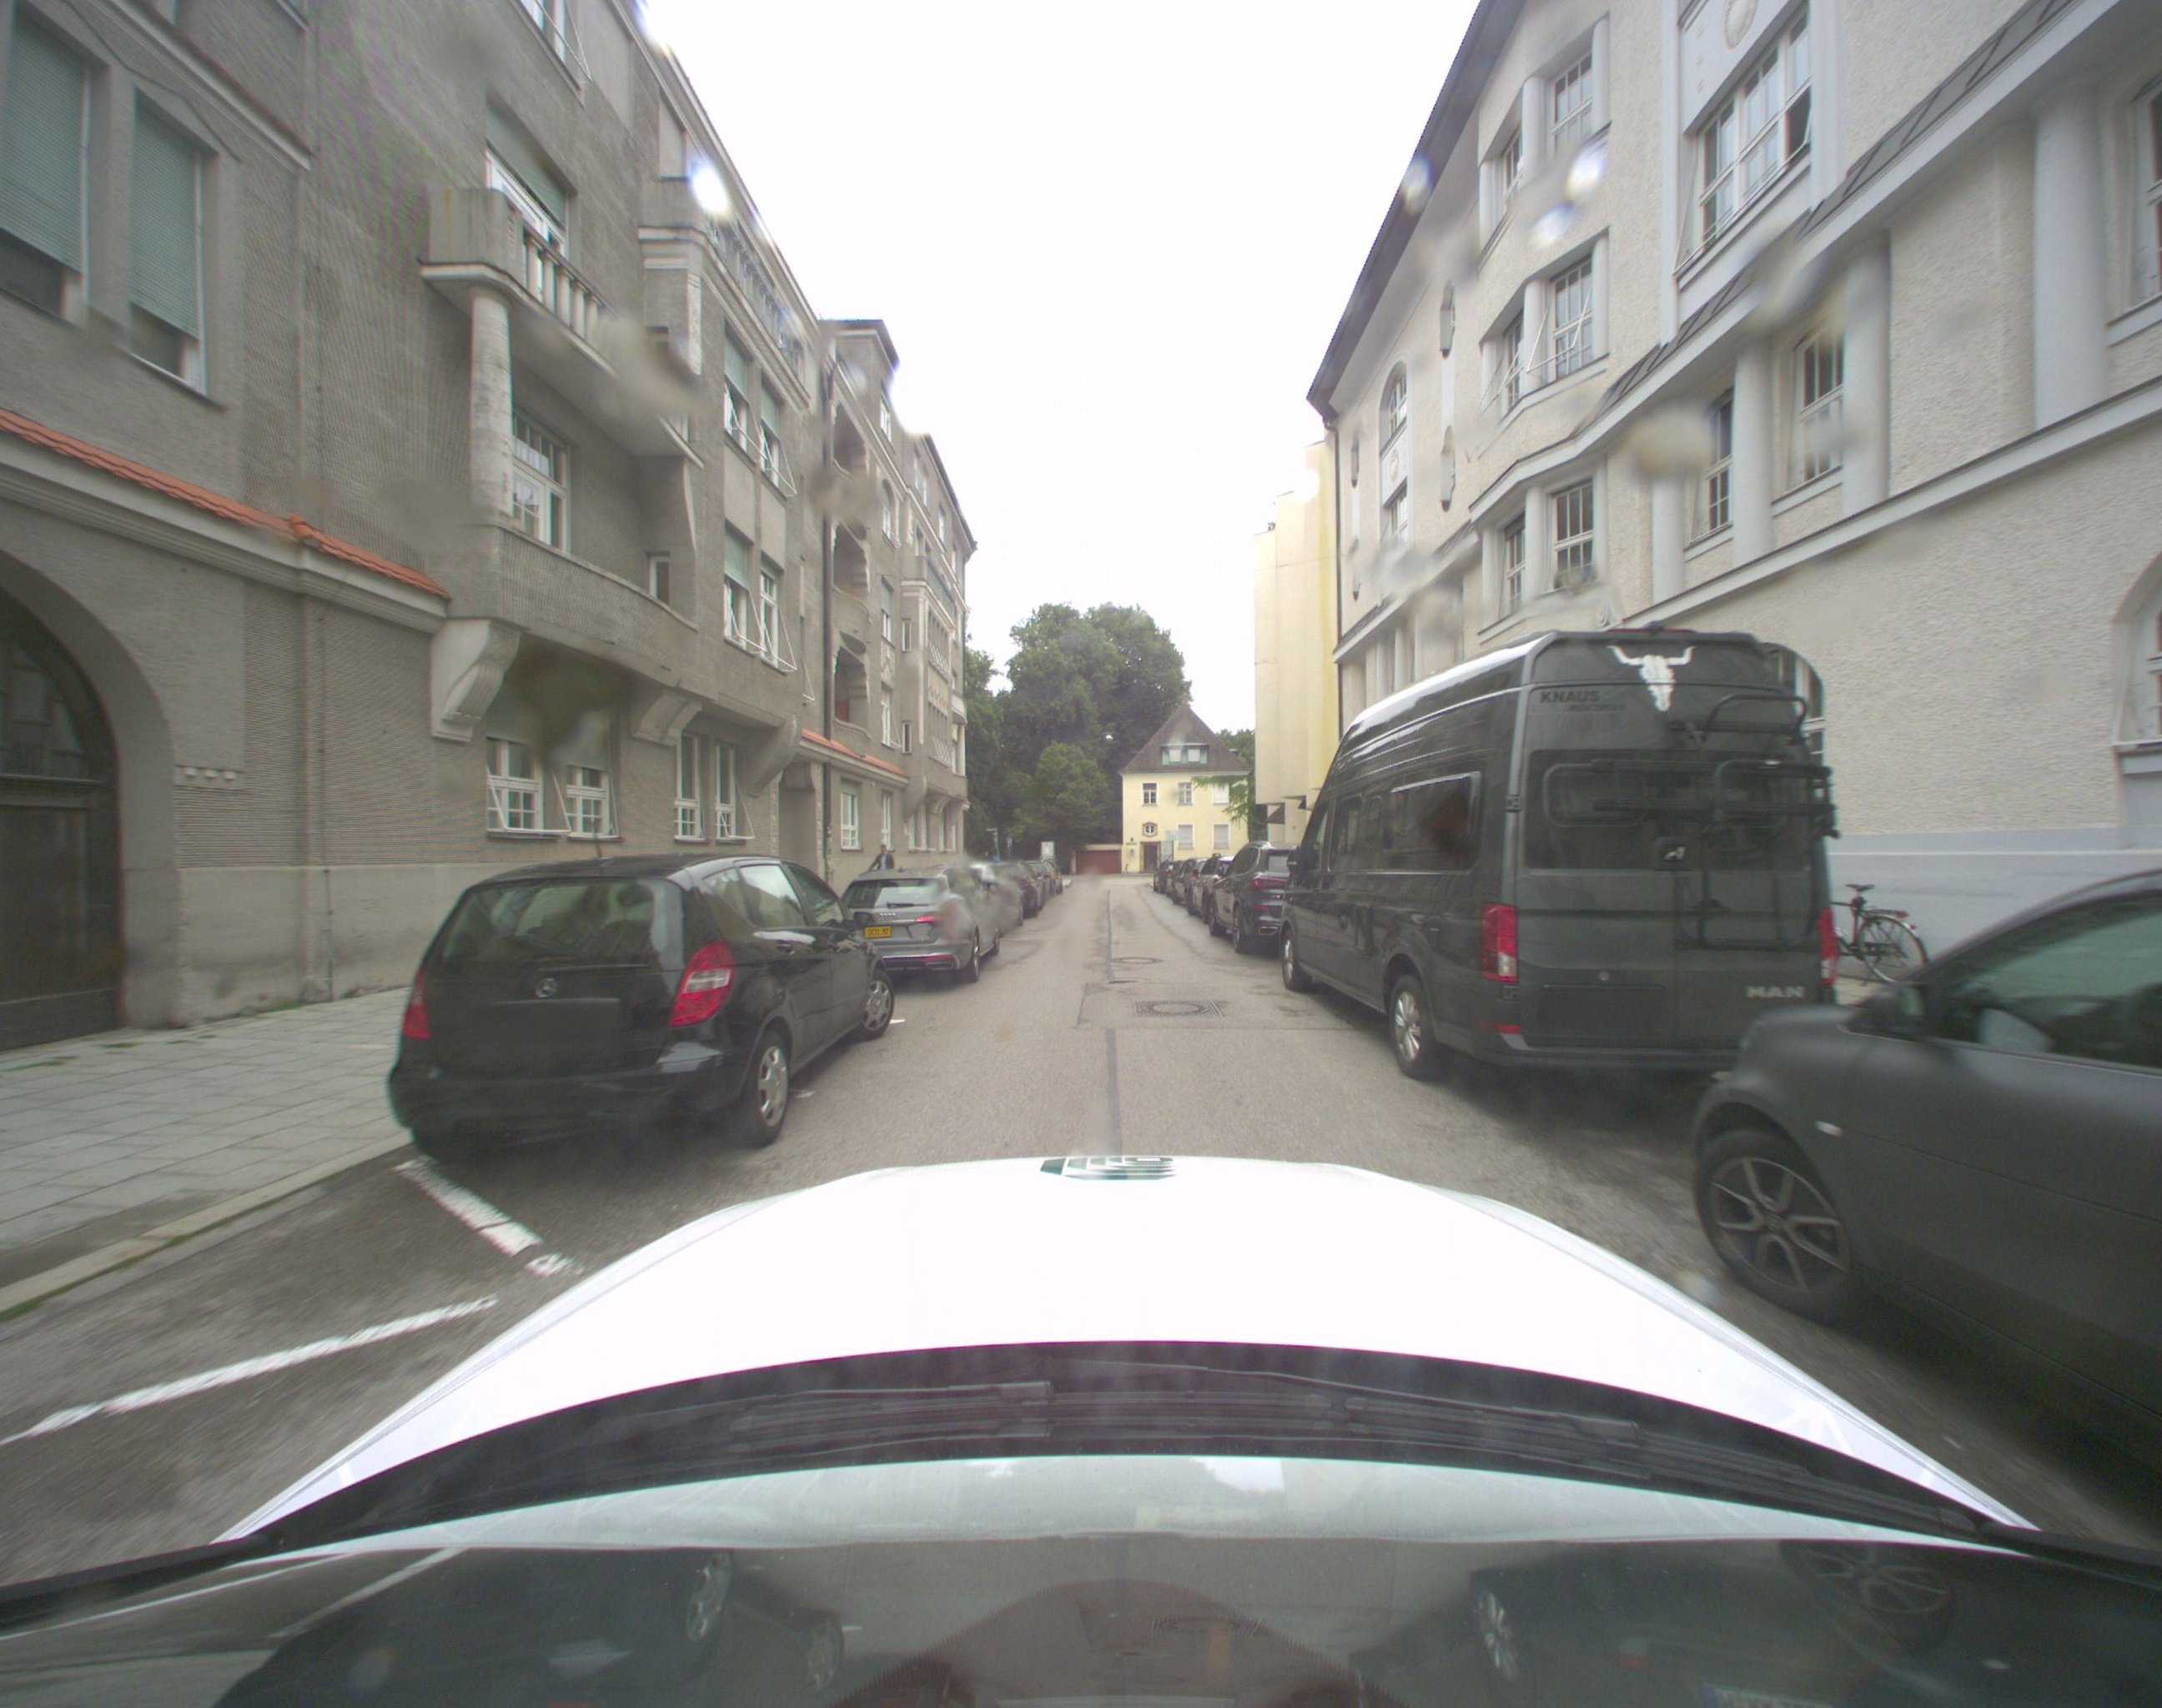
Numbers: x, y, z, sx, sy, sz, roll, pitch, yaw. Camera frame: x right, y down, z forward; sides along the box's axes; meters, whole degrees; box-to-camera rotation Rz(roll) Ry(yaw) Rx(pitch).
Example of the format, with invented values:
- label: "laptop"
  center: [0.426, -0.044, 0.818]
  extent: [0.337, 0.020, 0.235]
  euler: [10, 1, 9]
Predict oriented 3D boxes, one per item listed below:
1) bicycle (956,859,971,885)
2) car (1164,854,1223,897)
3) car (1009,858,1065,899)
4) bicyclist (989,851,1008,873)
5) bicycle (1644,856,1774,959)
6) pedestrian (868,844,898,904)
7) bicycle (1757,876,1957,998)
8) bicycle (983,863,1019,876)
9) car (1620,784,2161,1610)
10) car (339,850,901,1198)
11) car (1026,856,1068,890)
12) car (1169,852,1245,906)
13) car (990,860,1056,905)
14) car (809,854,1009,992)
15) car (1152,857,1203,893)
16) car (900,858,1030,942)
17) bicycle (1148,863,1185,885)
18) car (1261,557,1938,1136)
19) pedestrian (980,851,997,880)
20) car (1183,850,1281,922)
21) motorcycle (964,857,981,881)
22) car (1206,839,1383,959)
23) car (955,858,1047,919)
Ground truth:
- label: "bicycle"
  center: [-6.188, 0.946, 43.104]
  extent: [0.617, 1.349, 1.673]
  euler: [0, 0, -3]
- label: "car"
  center: [4.072, 0.739, 30.045]
  extent: [1.629, 1.471, 3.854]
  euler: [0, 0, 0]
- label: "car"
  center: [-1.705, 0.940, 33.093]
  extent: [1.748, 1.515, 4.711]
  euler: [-1, 0, 3]
- label: "bicyclist"
  center: [-6.340, 0.627, 62.698]
  extent: [1.115, 1.651, 0.991]
  euler: [0, 0, 16]
- label: "bicycle"
  center: [7.602, 0.595, 9.949]
  extent: [0.478, 1.150, 1.793]
  euler: [0, 0, 10]
- label: "pedestrian"
  center: [-6.064, 0.613, 24.933]
  extent: [0.714, 1.817, 0.731]
  euler: [0, 0, 1]
- label: "bicycle"
  center: [7.973, 0.798, 8.481]
  extent: [0.387, 1.069, 1.789]
  euler: [-2, 0, 2]
- label: "bicycle"
  center: [-6.150, 1.208, 62.642]
  extent: [2.592, 0.988, 0.991]
  euler: [0, 0, 16]
- label: "car"
  center: [2.913, 0.671, 1.928]
  extent: [1.535, 1.626, 2.818]
  euler: [0, 0, 4]
- label: "car"
  center: [-2.533, 0.777, 5.656]
  extent: [1.798, 1.572, 3.811]
  euler: [0, 0, -2]
- label: "car"
  center: [-1.578, 0.885, 38.415]
  extent: [1.697, 1.515, 2.913]
  euler: [-1, 0, 2]
- label: "car"
  center: [3.822, 0.726, 25.288]
  extent: [1.630, 1.537, 3.852]
  euler: [0, 0, -2]
- label: "car"
  center: [-1.902, 0.916, 27.724]
  extent: [1.748, 1.331, 4.099]
  euler: [-1, 0, 3]
- label: "car"
  center: [-2.103, 0.764, 11.303]
  extent: [1.831, 1.513, 4.606]
  euler: [0, 0, -1]
- label: "car"
  center: [4.146, 0.881, 35.746]
  extent: [1.687, 1.471, 4.610]
  euler: [0, 0, 0]
- label: "car"
  center: [-2.253, 0.853, 17.066]
  extent: [1.798, 1.431, 4.443]
  euler: [-2, 0, 3]
- label: "bicycle"
  center: [4.521, 1.045, 43.153]
  extent: [1.774, 1.085, 0.670]
  euler: [-2, 1, 28]
- label: "car"
  center: [3.331, 0.000, 7.256]
  extent: [2.246, 2.960, 6.133]
  euler: [0, -1, 1]
- label: "pedestrian"
  center: [-5.767, 0.732, 50.732]
  extent: [0.835, 1.787, 0.937]
  euler: [0, 0, 4]
- label: "car"
  center: [3.584, 0.711, 19.984]
  extent: [1.629, 1.592, 3.967]
  euler: [0, 0, -1]
- label: "motorcycle"
  center: [-6.609, 0.917, 49.687]
  extent: [0.733, 1.441, 2.147]
  euler: [0, 0, 0]
- label: "car"
  center: [3.401, 0.636, 13.953]
  extent: [1.986, 1.689, 4.677]
  euler: [0, 0, 2]
- label: "car"
  center: [-2.060, 0.851, 22.326]
  extent: [1.987, 1.448, 4.778]
  euler: [-1, 0, 0]
